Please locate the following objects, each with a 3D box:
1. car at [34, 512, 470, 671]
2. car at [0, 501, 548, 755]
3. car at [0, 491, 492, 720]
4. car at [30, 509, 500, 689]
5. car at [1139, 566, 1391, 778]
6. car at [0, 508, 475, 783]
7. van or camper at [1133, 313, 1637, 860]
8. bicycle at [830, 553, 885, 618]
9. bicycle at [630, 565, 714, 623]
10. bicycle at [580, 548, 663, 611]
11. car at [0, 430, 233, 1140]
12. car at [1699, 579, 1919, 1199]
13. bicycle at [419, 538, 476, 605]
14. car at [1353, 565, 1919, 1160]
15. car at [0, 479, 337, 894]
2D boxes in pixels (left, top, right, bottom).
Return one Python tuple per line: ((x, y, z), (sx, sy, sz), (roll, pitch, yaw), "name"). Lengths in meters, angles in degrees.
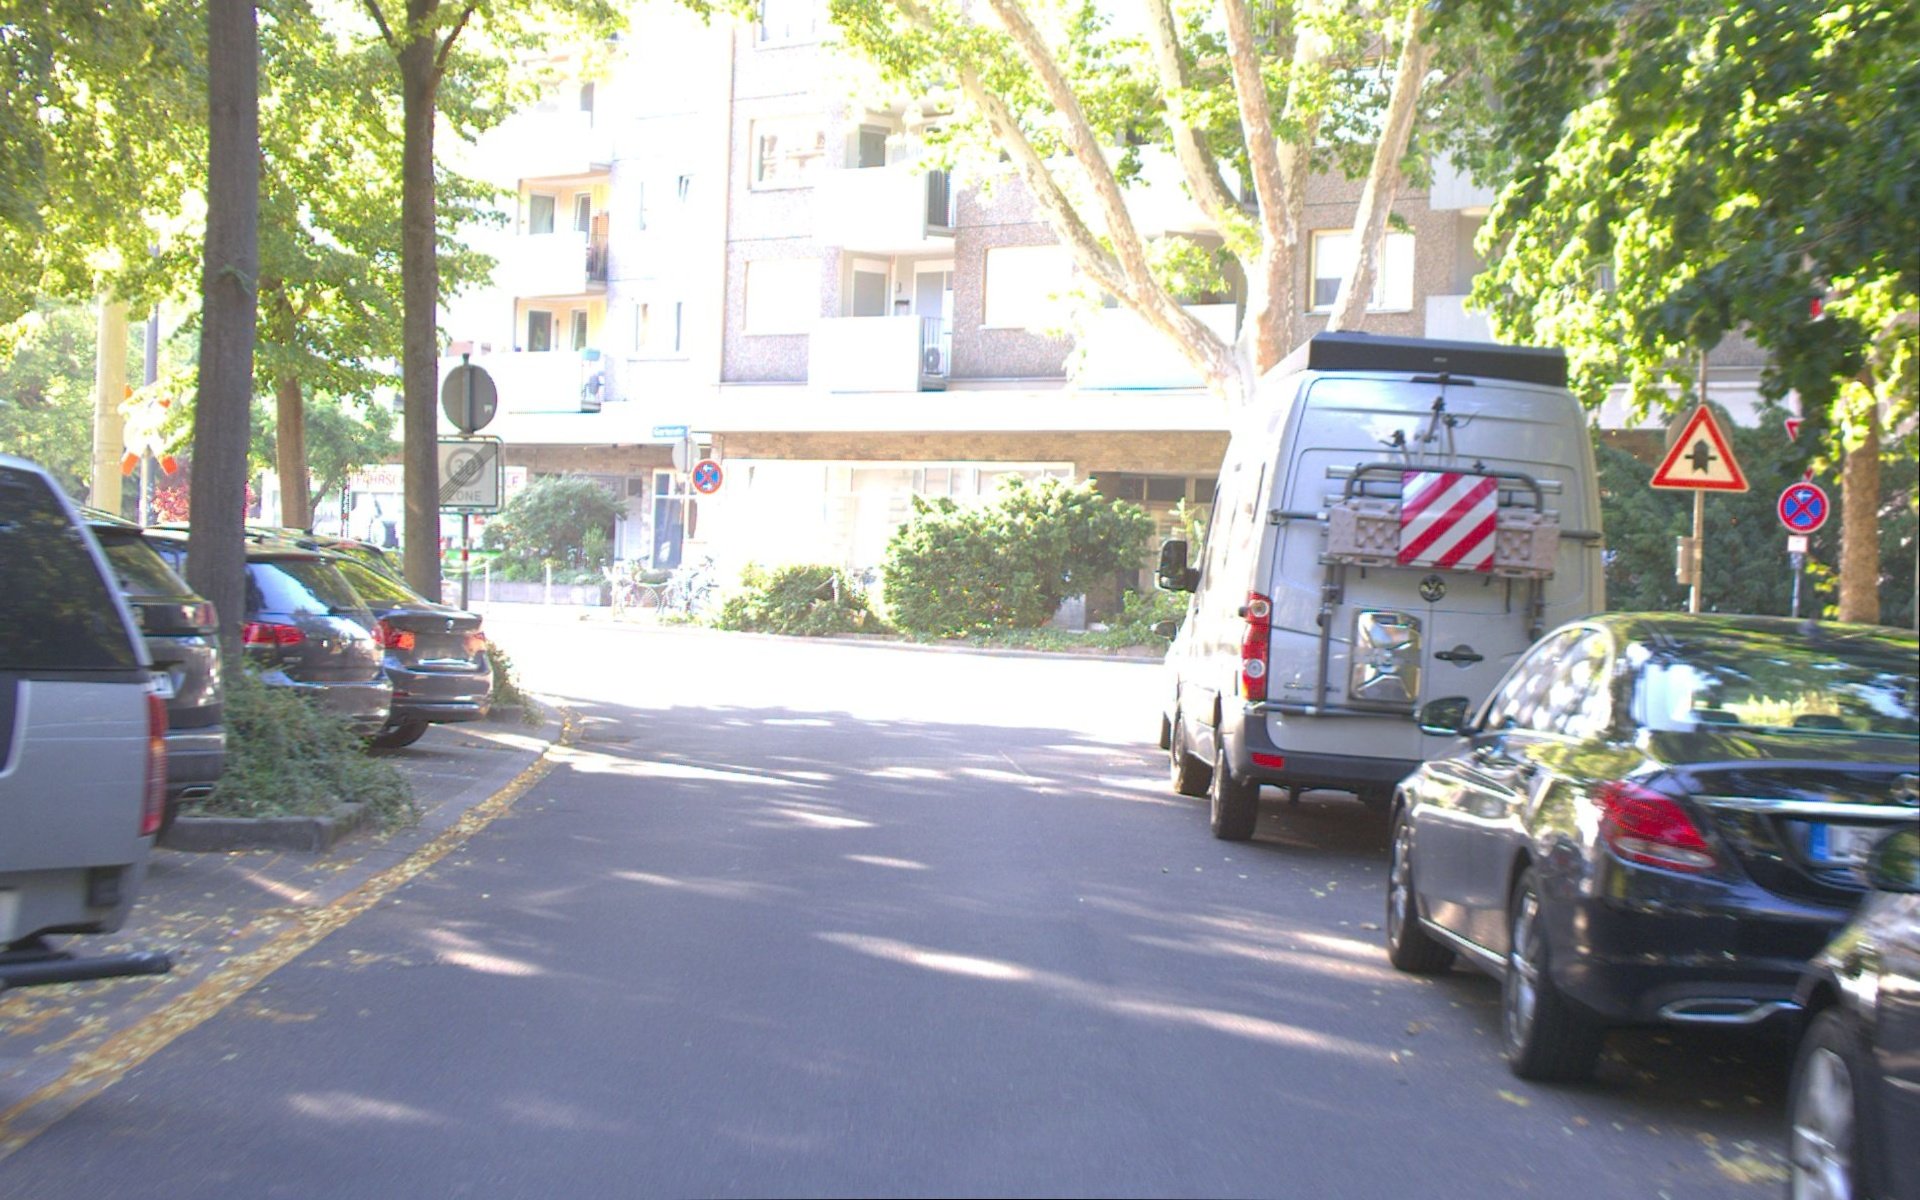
((-7.381, -0.093, 35.952), (4.029, 1.401, 1.773), (3, 0, 13), "car")
((-5.248, 0.155, 24.311), (4.192, 1.434, 1.829), (5, 1, 23), "car")
((-5.939, 0.022, 27.484), (3.877, 1.488, 1.829), (5, 1, 25), "car")
((-6.675, -0.018, 33.142), (3.975, 1.360, 1.773), (5, 1, 14), "car")
((2.384, 0.518, 27.685), (1.680, 1.441, 3.872), (4, 1, 1), "car")
((-5.263, 0.218, 21.738), (3.865, 1.434, 1.829), (5, 1, 23), "car")
((2.339, -0.123, 20.668), (2.084, 2.753, 5.846), (2, 1, -1), "van or camper")
((-1.701, -0.245, 56.778), (0.348, 1.034, 1.052), (1, 1, -37), "bicycle")
((-4.817, -0.102, 57.409), (0.542, 0.901, 1.735), (1, 1, -36), "bicycle")
((-5.839, -0.365, 59.230), (0.638, 1.019, 2.088), (1, 1, -28), "bicycle")
((-4.696, 0.266, 9.460), (4.993, 1.775, 1.984), (5, 1, 26), "car")
((2.658, 0.781, 5.985), (1.680, 1.520, 4.288), (2, 1, -1), "car")
((-9.723, -0.550, 65.131), (0.638, 1.222, 2.089), (1, 1, -20), "bicycle")
((2.481, 0.695, 11.447), (1.680, 1.520, 4.490), (2, 1, -1), "car")
((-5.202, 0.200, 15.383), (4.351, 1.621, 1.938), (5, 1, 26), "car")
